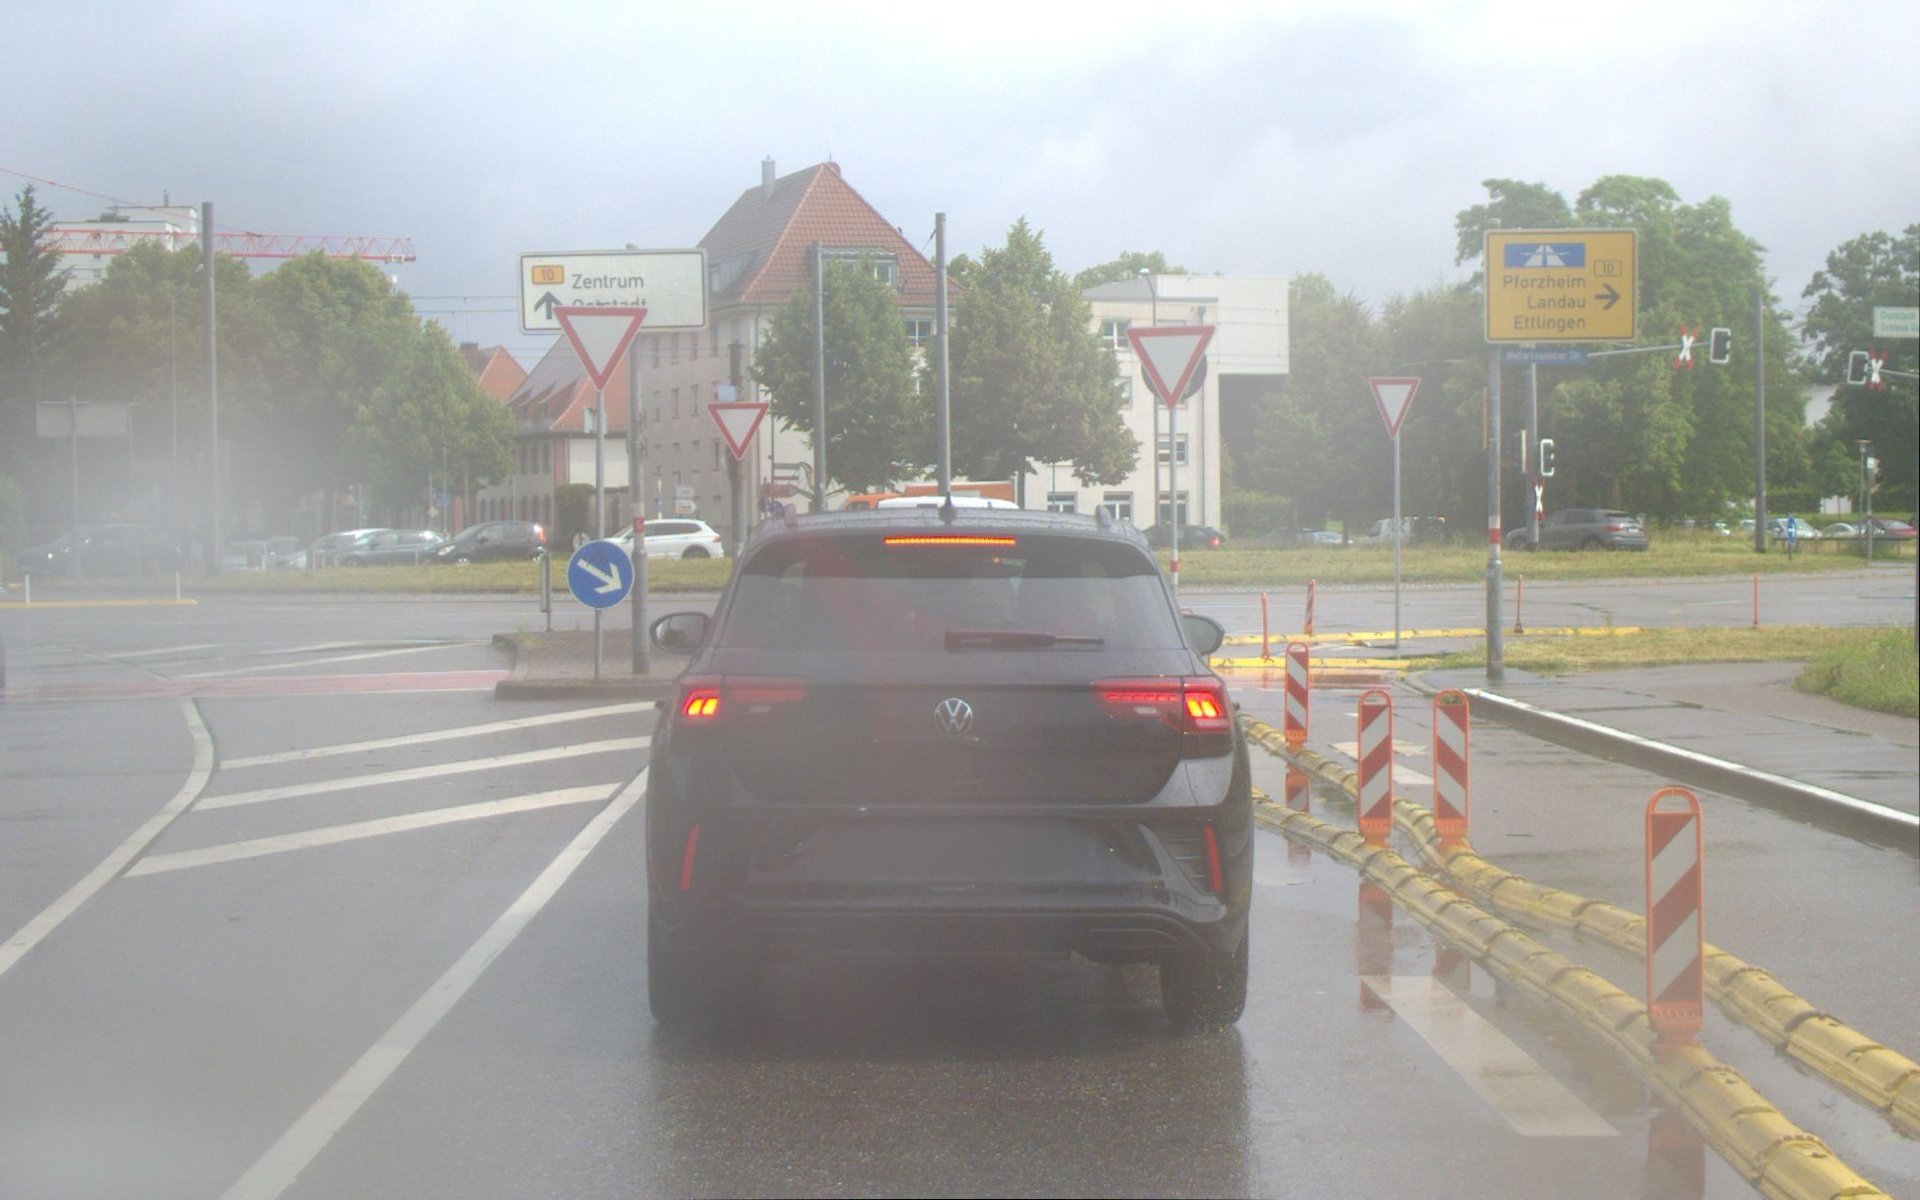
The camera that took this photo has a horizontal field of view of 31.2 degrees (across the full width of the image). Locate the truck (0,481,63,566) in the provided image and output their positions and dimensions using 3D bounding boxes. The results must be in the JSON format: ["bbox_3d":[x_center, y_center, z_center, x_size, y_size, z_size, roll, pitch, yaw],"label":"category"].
[{"bbox_3d":[-29.635,-2.190,99.420,6.702,2.434,2.434,-2,2,-30],"label":"truck"}]

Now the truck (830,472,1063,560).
[{"bbox_3d":[-0.420,-2.572,105.395,7.066,2.641,2.330,0,1,-1],"label":"truck"}]

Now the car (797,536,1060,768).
[{"bbox_3d":[-0.292,0.309,24.650,1.735,1.509,3.604,0,1,-3],"label":"car"}]

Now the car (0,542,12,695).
[{"bbox_3d":[-11.202,0.216,36.571,1.780,1.546,4.427,-4,2,-19],"label":"car"}]

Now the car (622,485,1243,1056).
[{"bbox_3d":[-0.196,0.439,11.333,1.708,1.568,3.683,0,1,-4],"label":"car"}]

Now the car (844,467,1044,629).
[{"bbox_3d":[-0.128,-0.635,40.444,1.864,1.803,4.403,0,1,6],"label":"car"}]

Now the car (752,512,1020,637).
[{"bbox_3d":[-1.155,-0.404,52.455,3.986,1.824,2.000,-1,1,-3],"label":"car"}]
